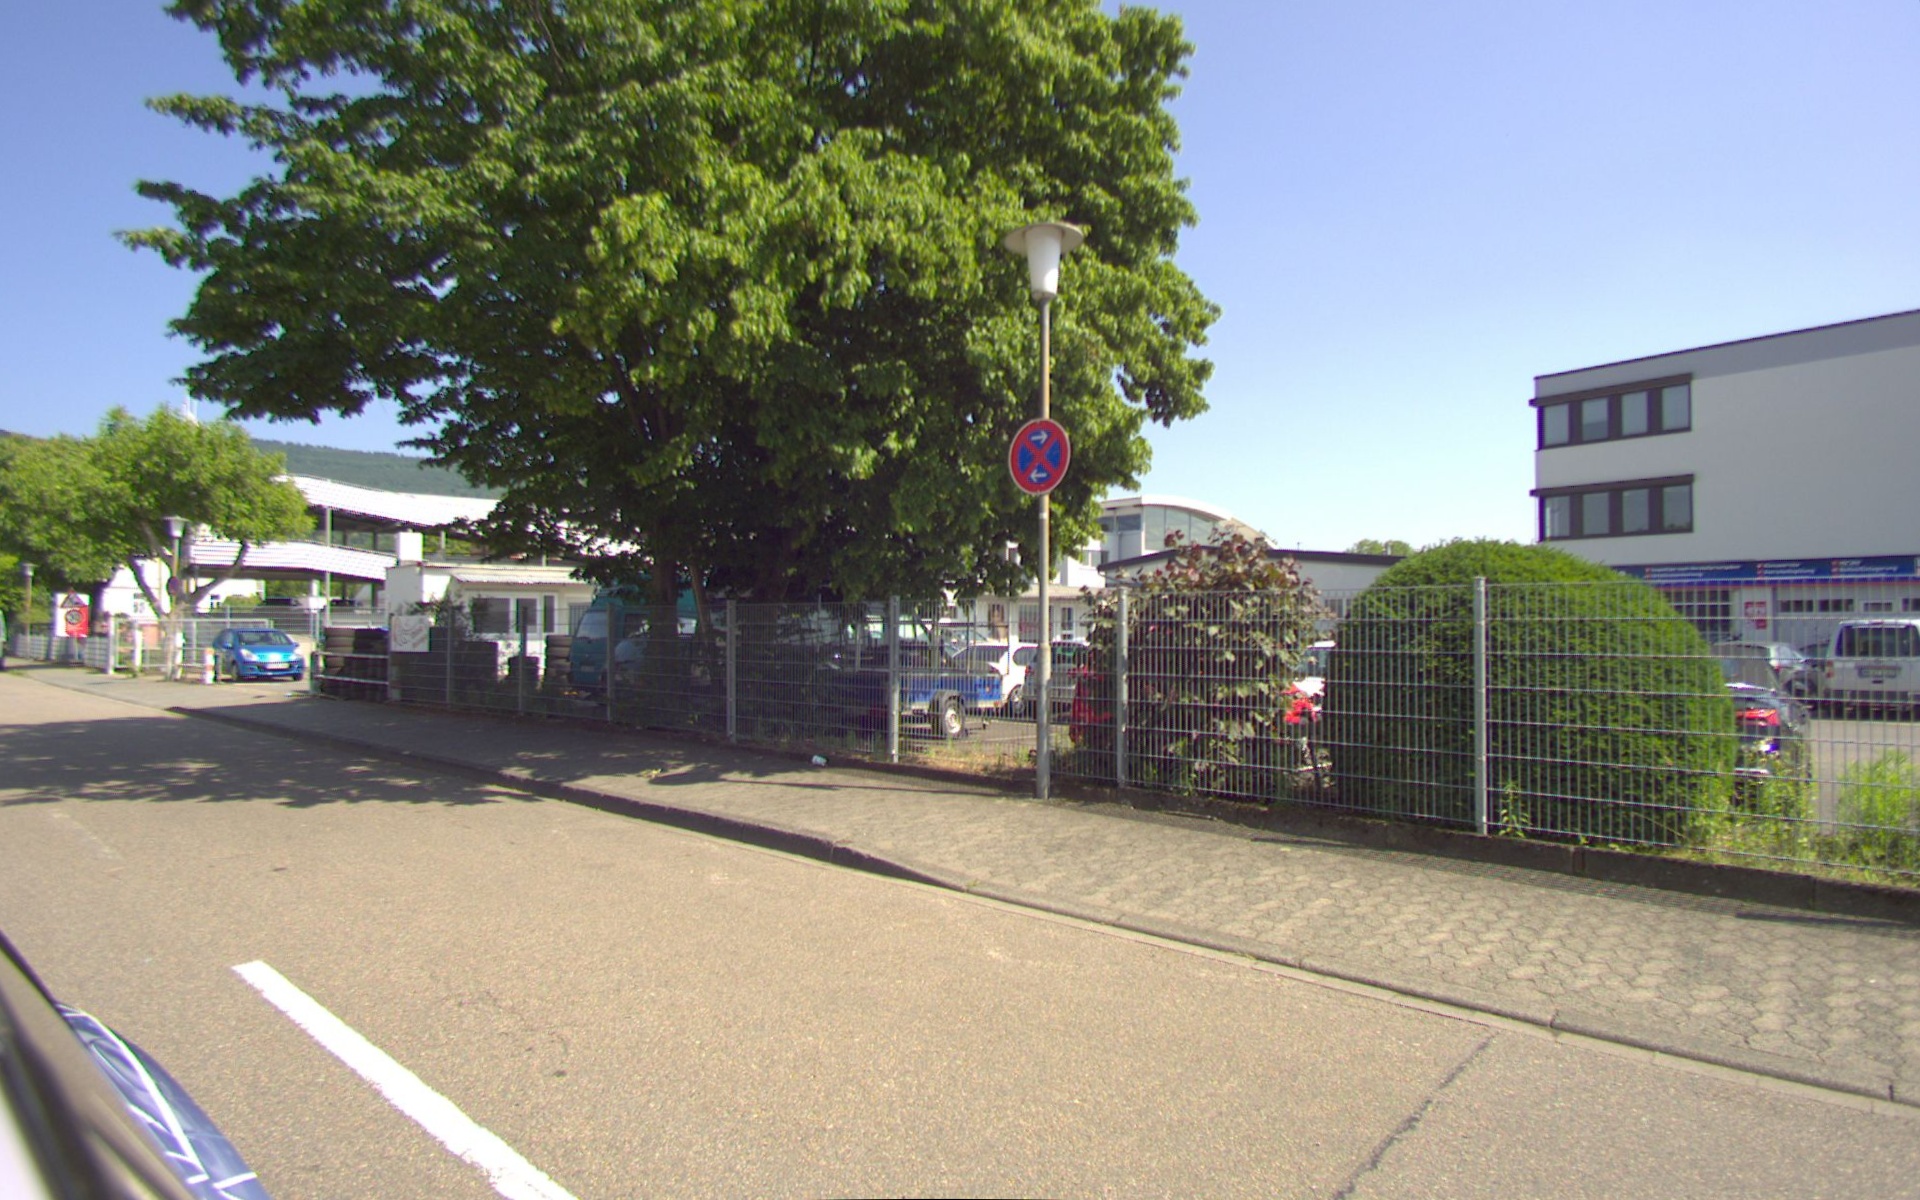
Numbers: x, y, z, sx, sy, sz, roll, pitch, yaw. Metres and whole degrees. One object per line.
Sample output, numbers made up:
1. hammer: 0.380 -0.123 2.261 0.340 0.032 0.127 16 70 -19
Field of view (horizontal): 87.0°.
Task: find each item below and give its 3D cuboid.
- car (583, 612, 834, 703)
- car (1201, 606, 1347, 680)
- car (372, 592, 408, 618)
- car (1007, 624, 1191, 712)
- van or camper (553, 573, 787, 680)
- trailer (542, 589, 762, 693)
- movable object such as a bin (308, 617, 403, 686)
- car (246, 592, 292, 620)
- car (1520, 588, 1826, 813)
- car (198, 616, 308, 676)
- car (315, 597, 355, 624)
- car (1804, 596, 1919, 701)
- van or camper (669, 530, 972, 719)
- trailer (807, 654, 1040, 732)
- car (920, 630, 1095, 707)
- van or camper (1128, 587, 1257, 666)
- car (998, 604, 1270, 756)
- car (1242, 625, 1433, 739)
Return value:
1. car: -4.321 0.966 17.728 1.861 1.397 3.871 -2 -3 45
2. car: 9.421 1.277 30.201 4.508 2.029 2.061 2 -3 -40
3. car: -33.816 0.263 60.097 1.680 1.469 3.537 -2 1 -27
4. car: 2.670 1.184 18.875 1.684 1.463 3.735 -1 -2 40
5. van or camper: -5.663 0.436 20.151 1.774 1.877 4.137 0 1 43
6. trailer: -7.330 0.880 24.466 1.999 2.171 4.720 0 1 42
7. movable object such as a bin: -13.378 1.090 22.370 1.364 1.368 2.105 -2 1 -43
8. car: -38.314 0.357 56.166 1.680 1.469 3.536 1 -2 -28
9. car: 6.418 0.744 9.084 1.854 1.553 3.787 -1 -2 38
10. car: -19.550 1.228 27.943 3.522 1.469 1.624 0 1 40
11. car: -35.844 0.574 58.107 1.680 1.469 3.537 -2 1 -27
12. car: 17.888 0.912 19.400 3.976 1.837 1.931 2 -3 -40
13. van or camper: -2.065 0.466 16.217 1.846 2.596 4.604 0 -3 43
14. trailer: -0.461 1.303 14.891 1.612 0.946 3.246 -2 -3 43
15. car: 1.026 1.314 20.369 1.730 1.389 3.588 -2 -3 39
16. van or camper: 7.461 0.810 32.250 4.532 2.323 1.783 1 -1 -43
17. car: 2.114 0.859 11.719 1.518 1.496 3.341 0 -3 43
18. car: 5.706 1.130 15.161 1.653 1.484 3.036 0 -1 43
